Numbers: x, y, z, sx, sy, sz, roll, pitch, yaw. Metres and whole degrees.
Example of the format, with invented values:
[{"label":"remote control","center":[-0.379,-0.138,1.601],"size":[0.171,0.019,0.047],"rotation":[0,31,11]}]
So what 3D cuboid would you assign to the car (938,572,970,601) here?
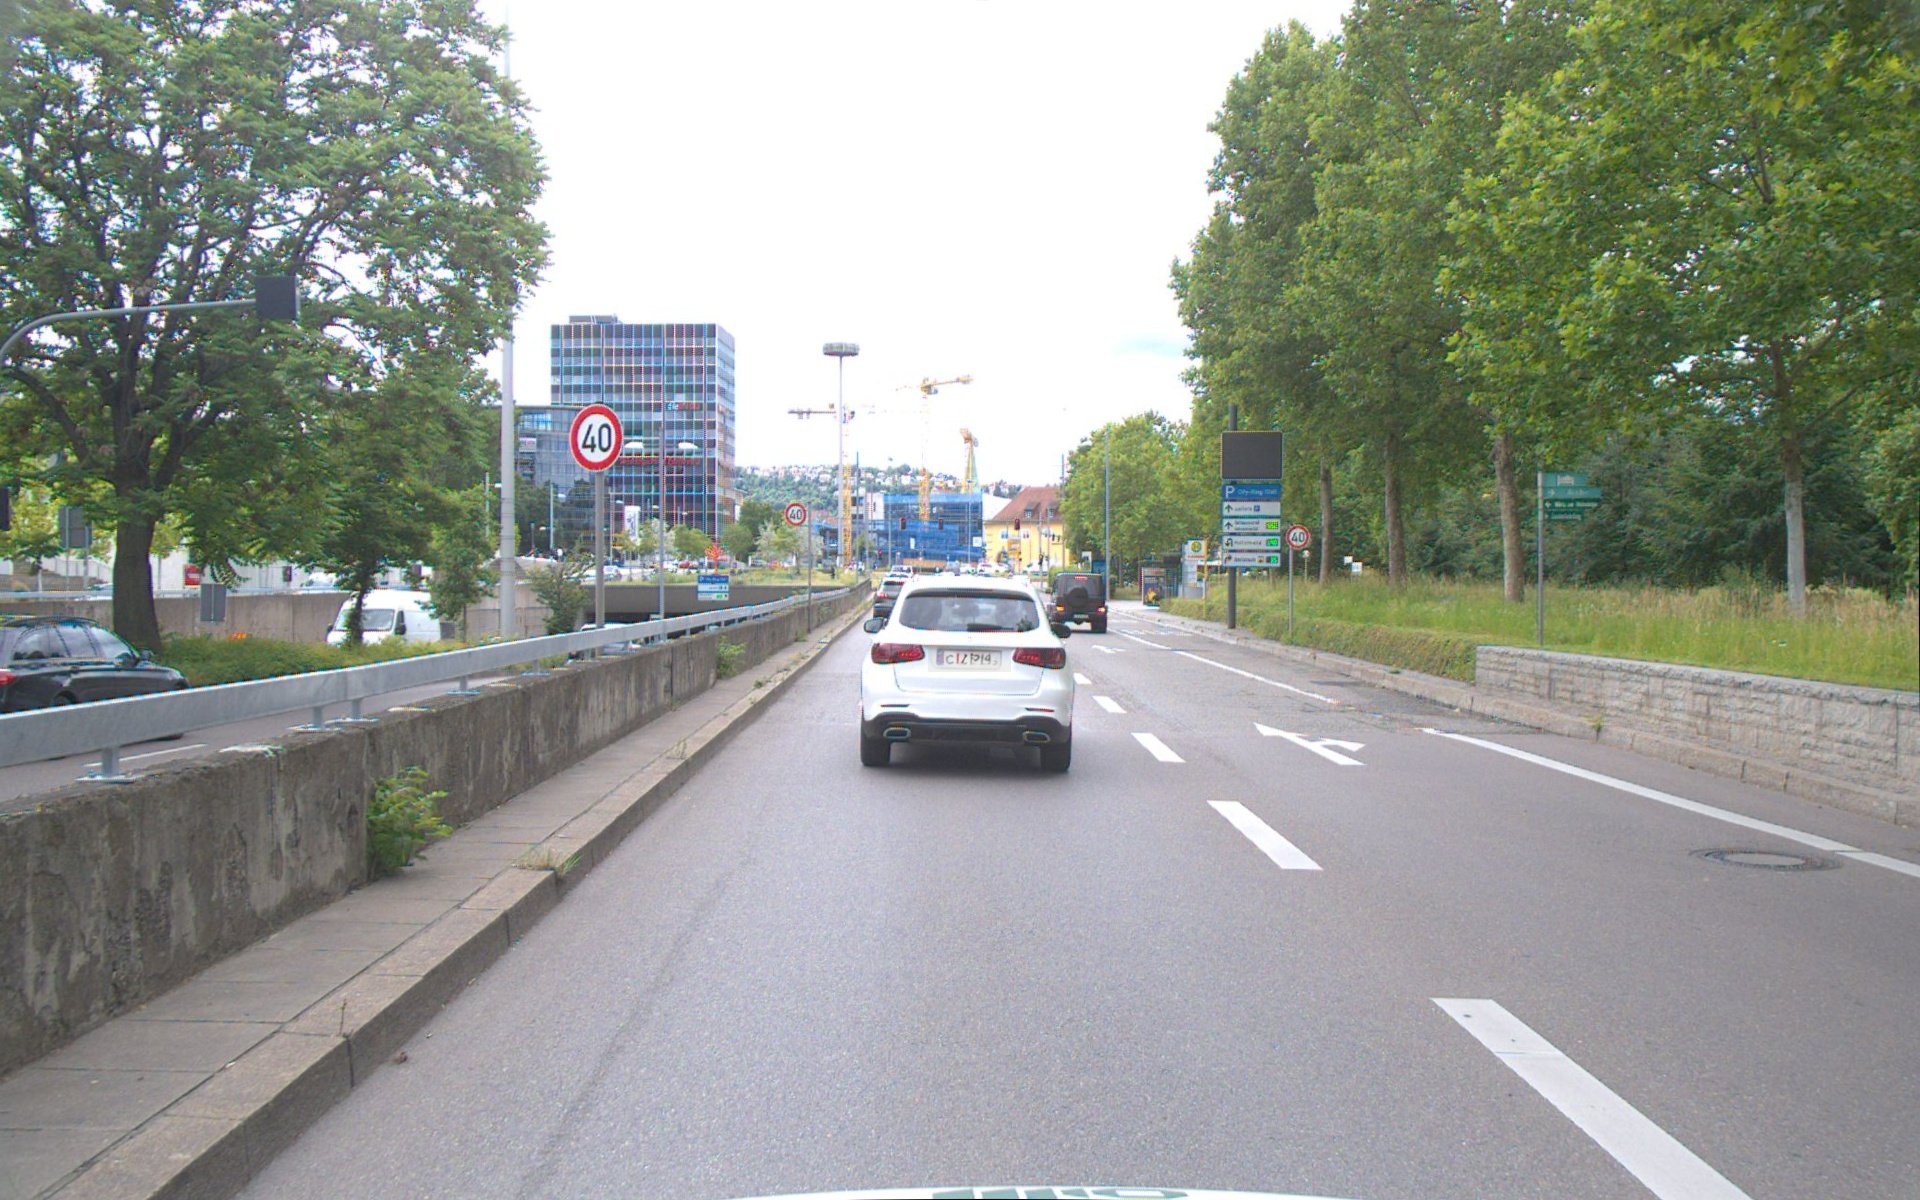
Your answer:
[{"label":"car","center":[-0.440,-0.918,113.678],"size":[1.953,1.812,3.998],"rotation":[2,0,-2]}]

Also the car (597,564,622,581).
[{"label":"car","center":[-32.742,-2.573,154.586],"size":[1.797,1.384,3.862],"rotation":[3,0,-7]}]

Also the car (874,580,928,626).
[{"label":"car","center":[-2.198,0.087,61.614],"size":[1.884,1.630,3.999],"rotation":[1,1,-2]}]

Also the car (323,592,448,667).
[{"label":"car","center":[-18.270,0.904,52.974],"size":[1.935,2.203,6.210],"rotation":[2,0,-2]}]

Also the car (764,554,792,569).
[{"label":"car","center":[-28.177,-5.970,255.450],"size":[3.926,2.049,1.989],"rotation":[3,-1,-19]}]

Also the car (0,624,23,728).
[{"label":"car","center":[-17.210,1.324,26.580],"size":[1.819,1.747,4.444],"rotation":[-1,0,-1]}]

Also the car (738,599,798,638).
[{"label":"car","center":[-7.129,0.683,61.756],"size":[1.684,1.315,4.000],"rotation":[3,0,1]}]

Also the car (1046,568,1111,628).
[{"label":"car","center":[4.109,-0.051,58.158],"size":[1.937,1.926,4.707],"rotation":[2,0,1]}]

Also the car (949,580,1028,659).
[{"label":"car","center":[0.609,0.425,38.116],"size":[1.638,1.656,3.999],"rotation":[2,0,-1]}]

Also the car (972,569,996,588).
[{"label":"car","center":[2.060,-1.852,142.829],"size":[1.685,1.612,3.997],"rotation":[2,0,-3]}]

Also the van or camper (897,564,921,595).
[{"label":"van or camper","center":[-4.138,-1.628,135.035],"size":[1.884,2.360,3.998],"rotation":[1,-1,-2]}]

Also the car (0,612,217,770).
[{"label":"car","center":[-10.295,0.907,18.556],"size":[1.775,1.486,4.861],"rotation":[2,0,-2]}]

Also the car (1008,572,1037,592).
[{"label":"car","center":[5.391,-1.543,142.904],"size":[1.955,1.646,3.995],"rotation":[3,0,-6]}]

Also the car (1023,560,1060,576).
[{"label":"car","center":[12.100,-4.757,245.814],"size":[5.180,2.096,1.868],"rotation":[2,-1,34]}]

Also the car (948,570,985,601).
[{"label":"car","center":[0.364,-0.838,98.483],"size":[1.953,1.691,3.998],"rotation":[2,0,-2]}]

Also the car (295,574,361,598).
[{"label":"car","center":[-33.021,-0.704,86.526],"size":[1.773,1.138,4.805],"rotation":[3,0,-3]}]

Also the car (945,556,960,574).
[{"label":"car","center":[-0.938,-4.435,208.033],"size":[1.764,2.049,3.998],"rotation":[2,0,-2]}]

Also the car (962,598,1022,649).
[{"label":"car","center":[1.089,0.786,58.014],"size":[1.884,1.630,3.999],"rotation":[1,1,-2]}]

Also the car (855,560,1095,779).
[{"label":"car","center":[0.047,0.573,15.407],"size":[1.902,1.713,3.998],"rotation":[2,0,-2]}]

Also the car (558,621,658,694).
[{"label":"car","center":[-8.019,1.284,37.914],"size":[1.594,1.535,3.538],"rotation":[2,0,-2]}]
